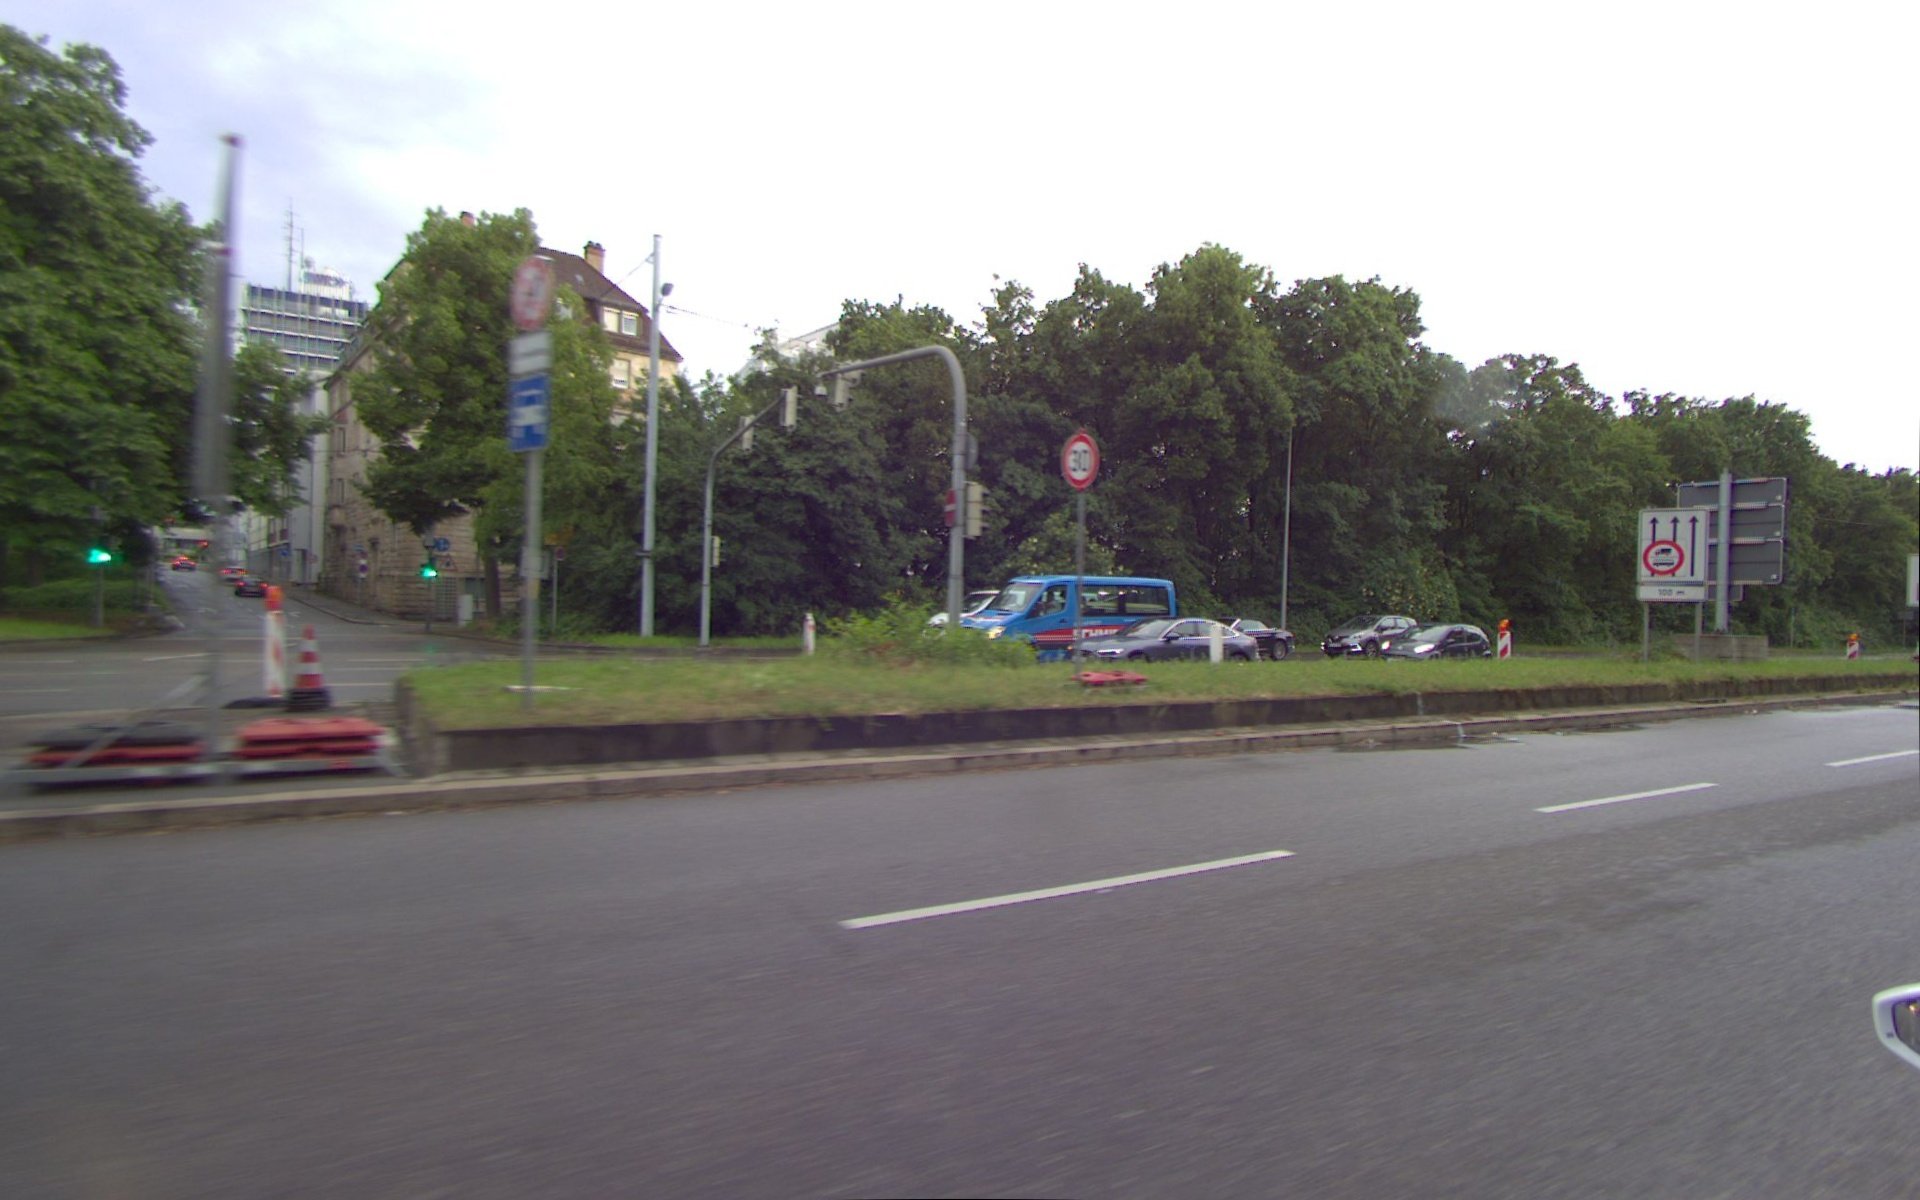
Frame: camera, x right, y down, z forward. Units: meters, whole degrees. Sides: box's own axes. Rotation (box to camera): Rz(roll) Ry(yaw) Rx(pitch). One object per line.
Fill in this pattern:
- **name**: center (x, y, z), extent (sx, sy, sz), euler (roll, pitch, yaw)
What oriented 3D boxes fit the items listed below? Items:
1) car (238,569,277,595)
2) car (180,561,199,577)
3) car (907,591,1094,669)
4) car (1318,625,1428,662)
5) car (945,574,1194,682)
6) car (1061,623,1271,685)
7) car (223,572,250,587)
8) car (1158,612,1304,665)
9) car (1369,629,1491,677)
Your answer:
- **car**: center (-48.218, -1.190, 68.914), extent (1.862, 1.680, 3.463), euler (2, 0, -40)
- **car**: center (-86.793, -3.426, 113.093), extent (1.579, 1.680, 3.463), euler (1, 0, -40)
- **car**: center (1.165, 0.770, 28.132), extent (4.932, 2.001, 2.024), euler (0, 1, -31)
- **car**: center (14.575, 1.524, 35.426), extent (3.883, 1.216, 1.541), euler (2, 0, -30)
- **car**: center (2.825, 0.632, 25.221), extent (6.171, 2.423, 2.184), euler (0, 1, -31)
- **car**: center (4.598, 1.170, 22.228), extent (4.586, 1.216, 1.543), euler (2, 0, -27)
- **car**: center (-60.638, -1.732, 84.179), extent (1.579, 1.179, 3.463), euler (2, 0, -40)
- **car**: center (8.711, 1.220, 32.176), extent (4.579, 1.544, 1.785), euler (2, 0, -30)
- **car**: center (12.935, 1.432, 27.629), extent (3.261, 1.216, 1.423), euler (2, 0, -30)
